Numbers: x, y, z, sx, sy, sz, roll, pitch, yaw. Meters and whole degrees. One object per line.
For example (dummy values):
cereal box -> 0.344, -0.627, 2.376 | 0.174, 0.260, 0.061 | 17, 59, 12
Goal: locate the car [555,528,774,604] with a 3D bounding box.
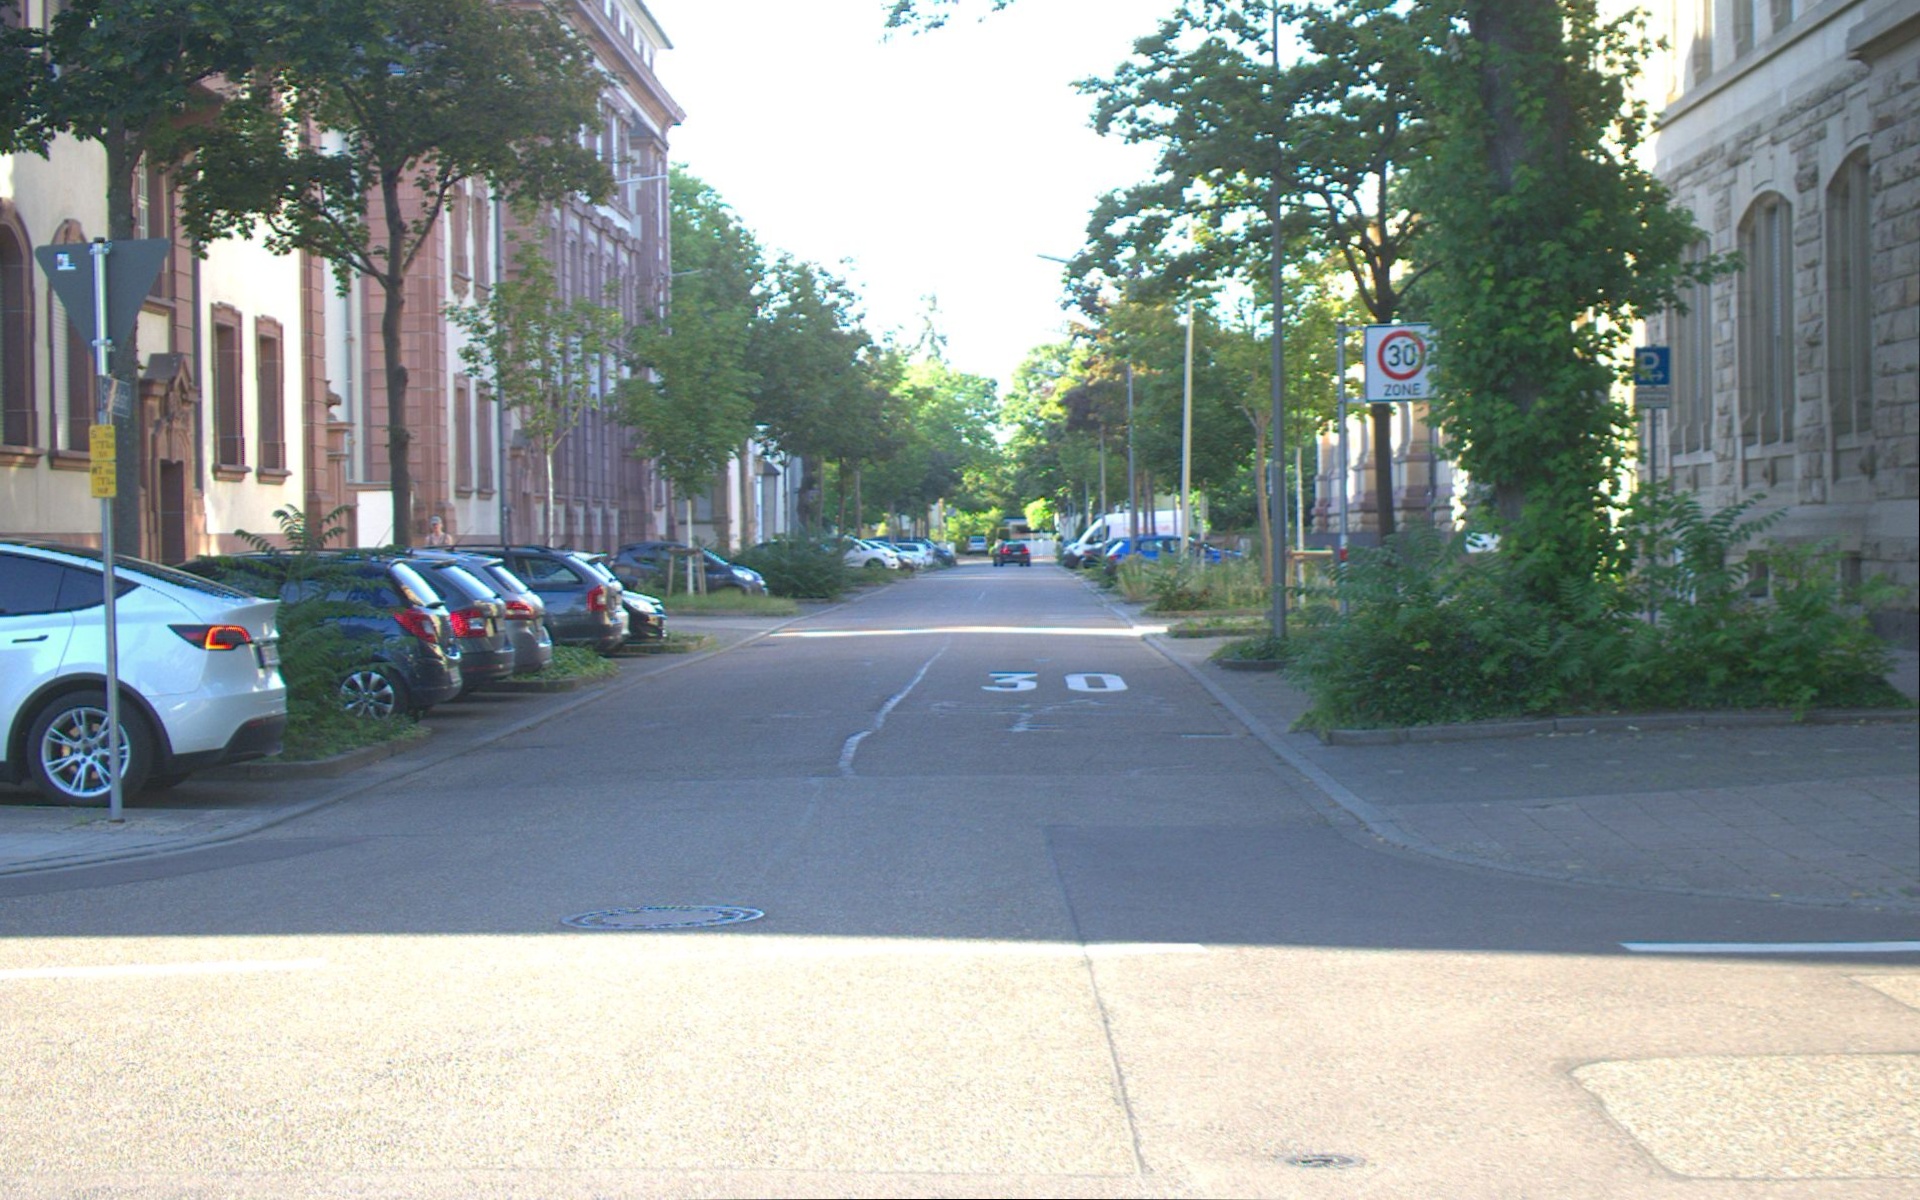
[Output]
car -> -6.169, -0.715, 72.130 | 4.379, 1.491, 1.967 | 1, 1, 1

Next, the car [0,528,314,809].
car -> -6.499, 0.341, 21.069 | 4.706, 1.584, 1.967 | 2, 1, -2

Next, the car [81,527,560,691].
car -> -6.236, 0.066, 33.903 | 4.378, 1.491, 1.967 | 1, 1, -2

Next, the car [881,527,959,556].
car -> -2.135, -3.146, 184.845 | 4.089, 1.489, 1.932 | -1, 1, 2

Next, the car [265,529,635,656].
car -> -6.351, -0.112, 43.200 | 4.378, 1.491, 1.967 | 1, 1, -2

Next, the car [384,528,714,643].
car -> -5.672, -0.211, 47.885 | 4.378, 1.491, 1.967 | 1, 1, -2

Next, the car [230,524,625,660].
car -> -6.232, -0.110, 40.604 | 4.378, 1.491, 1.967 | 1, 1, -2

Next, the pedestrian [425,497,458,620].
pedestrian -> -8.511, -0.683, 56.454 | 0.435, 2.007, 0.463 | -1, 1, 2

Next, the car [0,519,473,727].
car -> -6.304, 0.156, 28.115 | 4.378, 1.579, 1.967 | 1, 1, -2

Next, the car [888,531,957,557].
car -> -2.254, -3.411, 208.275 | 4.089, 1.489, 1.932 | -1, 1, 2

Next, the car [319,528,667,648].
car -> -6.160, -0.176, 45.699 | 4.378, 1.491, 1.967 | 1, 1, -2

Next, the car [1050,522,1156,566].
car -> 5.440, -2.138, 131.024 | 3.987, 1.612, 1.788 | -1, 1, 1

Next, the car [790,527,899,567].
car -> -4.463, -2.077, 133.499 | 4.089, 1.489, 1.932 | -1, 1, 2

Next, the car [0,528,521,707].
car -> -6.273, 0.136, 31.092 | 4.378, 1.491, 1.967 | 1, 1, -2

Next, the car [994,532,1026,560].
car -> 3.030, -3.288, 208.508 | 1.743, 1.700, 3.674 | -1, 1, -2

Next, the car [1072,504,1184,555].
car -> 7.131, -2.999, 146.417 | 4.705, 2.096, 2.000 | -1, 1, 2

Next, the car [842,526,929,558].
car -> -3.566, -2.815, 165.949 | 4.089, 1.489, 1.932 | -1, 1, 2
